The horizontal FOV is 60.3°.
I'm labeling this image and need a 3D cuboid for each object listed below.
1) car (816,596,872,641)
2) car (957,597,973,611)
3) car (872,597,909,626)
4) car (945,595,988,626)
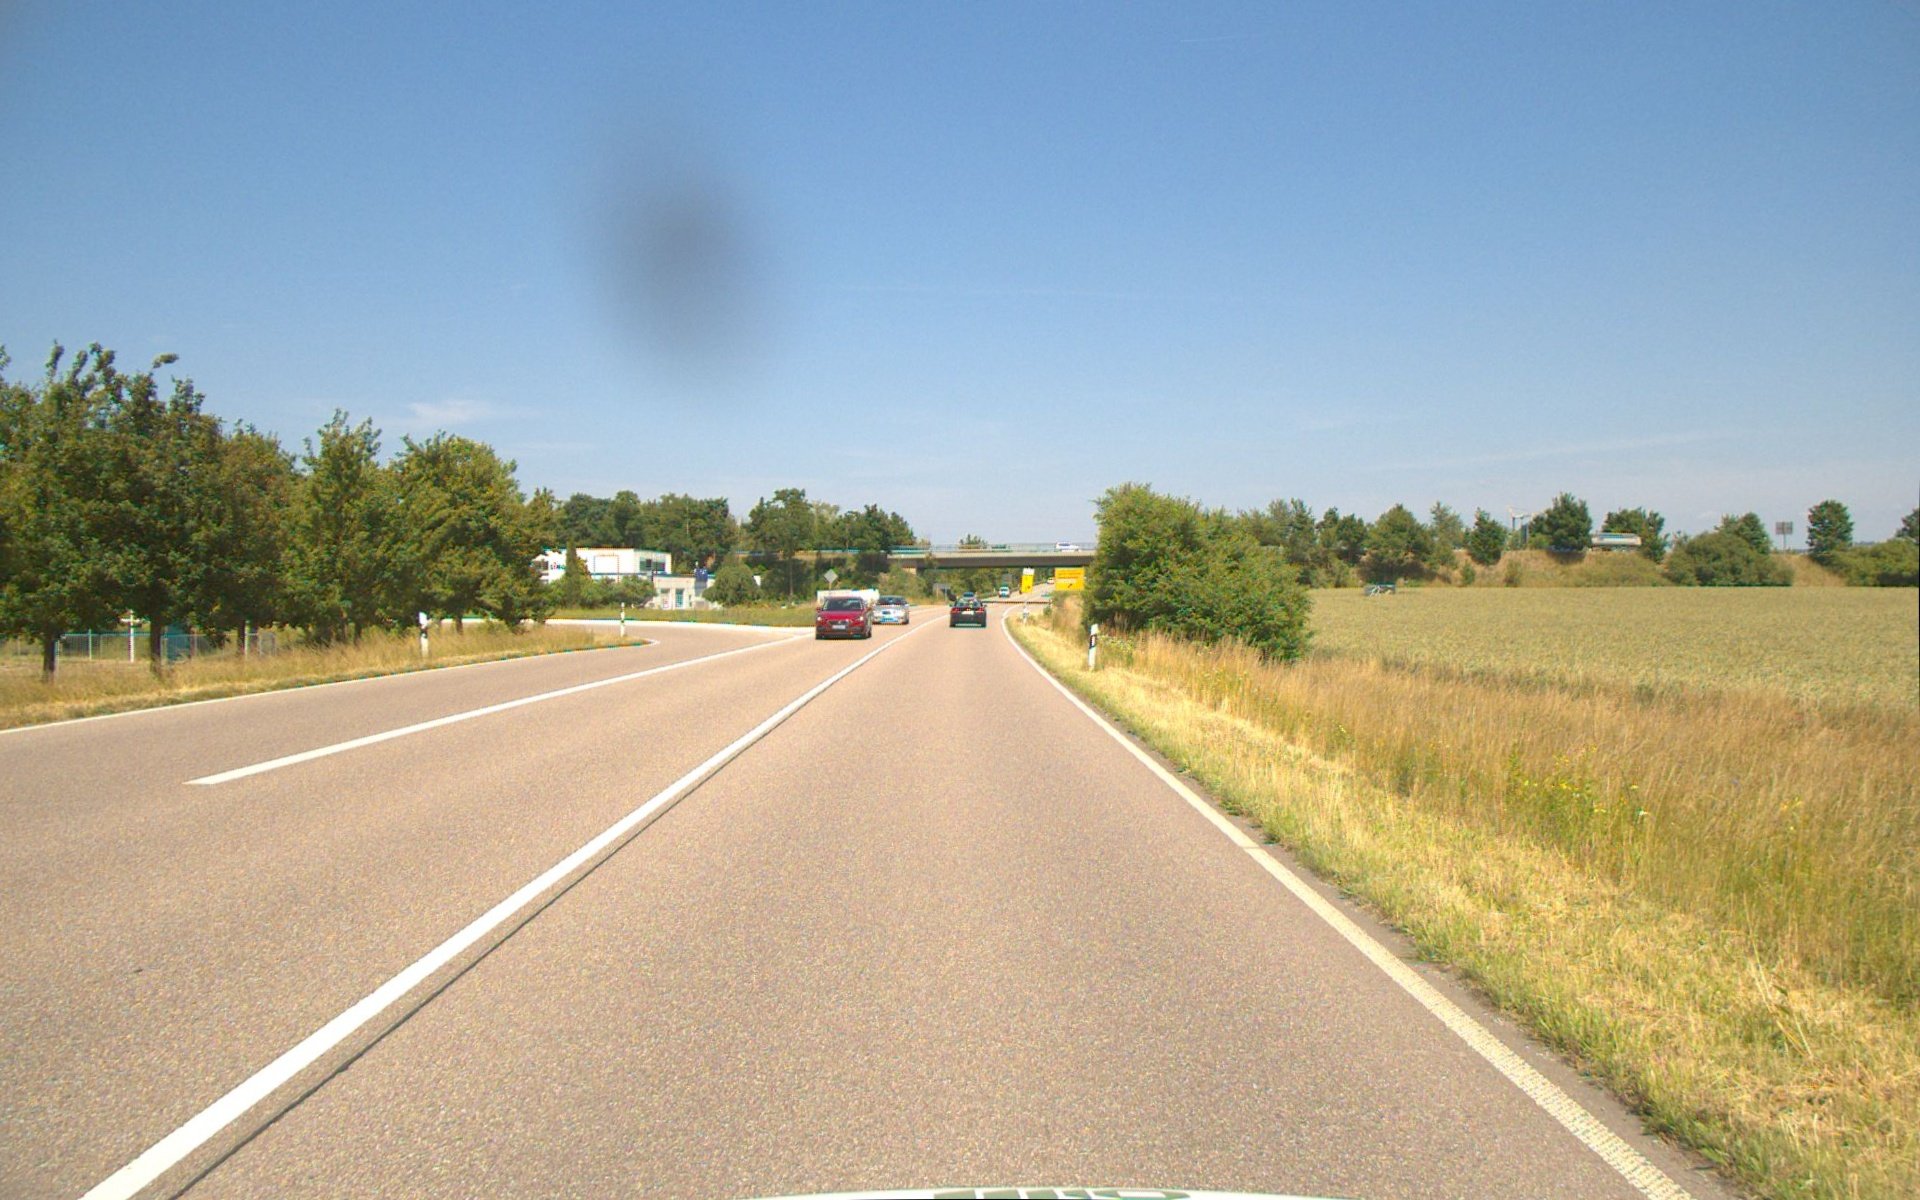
[{"bbox_3d":[-3.975,0.612,57.251,1.707,1.436,4.623,1,0,-2],"label":"car"},{"bbox_3d":[0.576,0.506,199.203,1.794,1.595,3.333,1,-1,-1],"label":"car"},{"bbox_3d":[-3.493,0.584,83.462,1.696,1.415,4.491,1,0,0],"label":"car"},{"bbox_3d":[0.283,0.486,78.953,1.778,1.466,3.997,0,0,-3],"label":"car"}]
